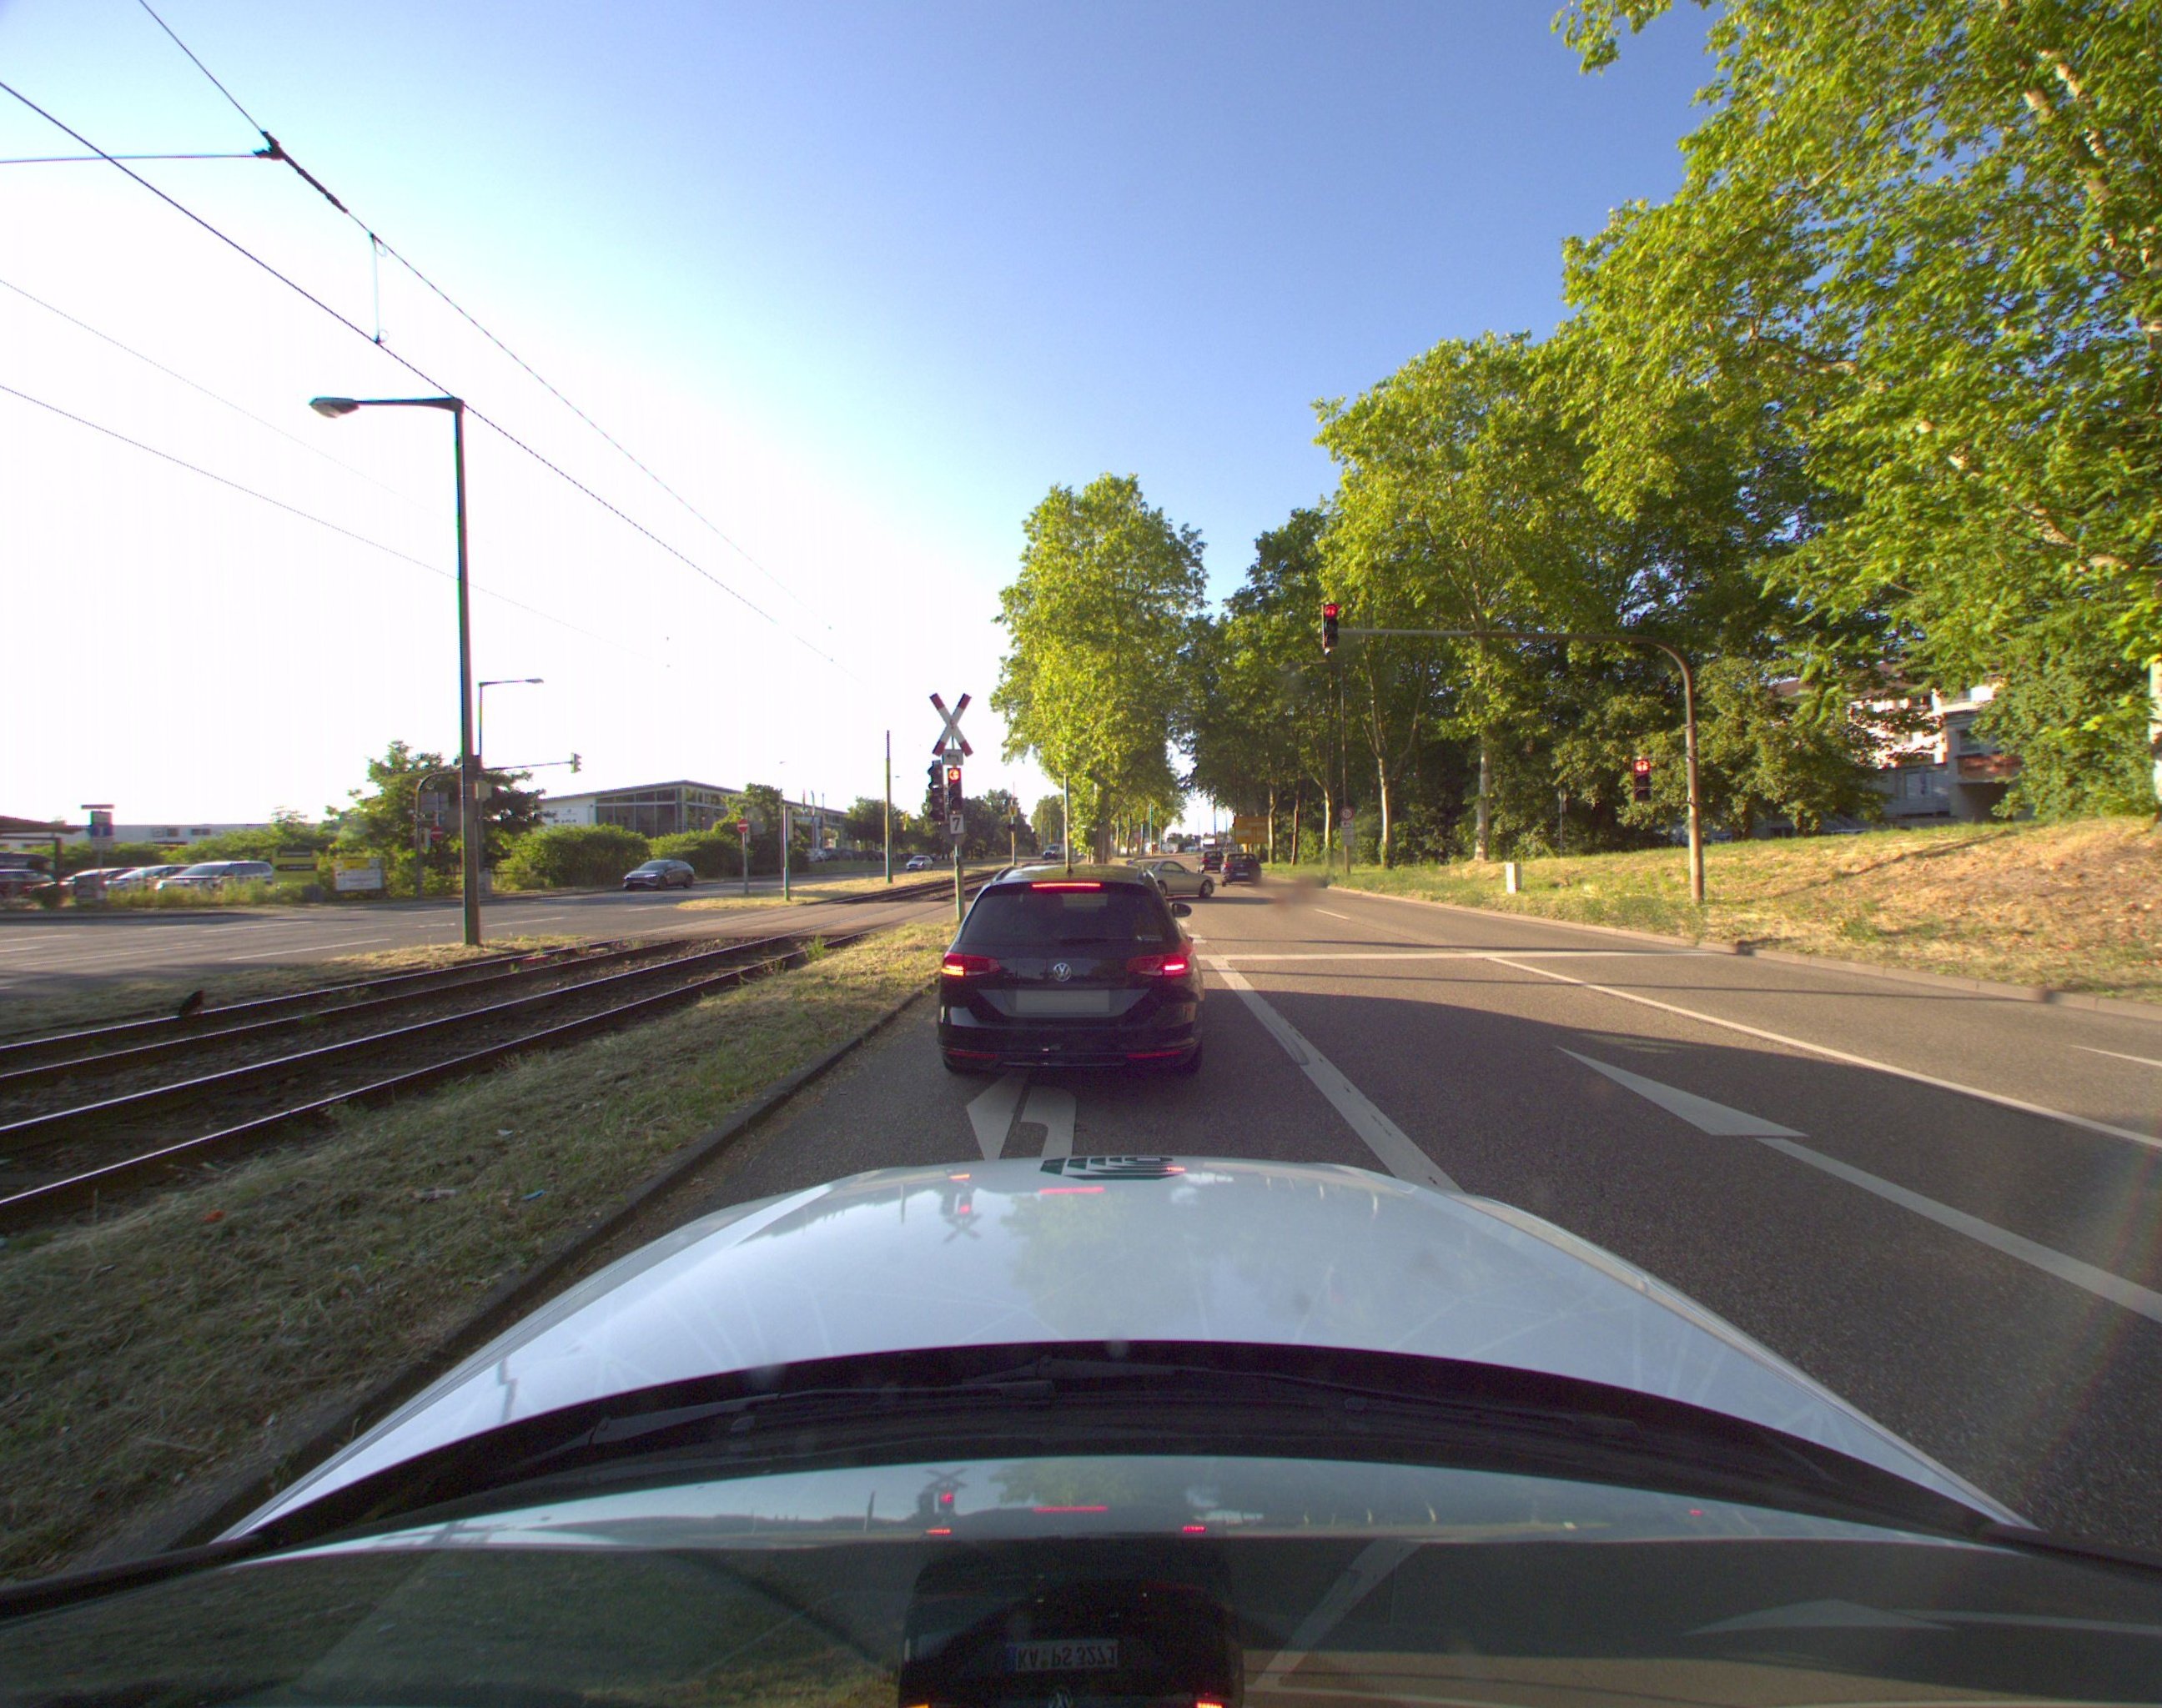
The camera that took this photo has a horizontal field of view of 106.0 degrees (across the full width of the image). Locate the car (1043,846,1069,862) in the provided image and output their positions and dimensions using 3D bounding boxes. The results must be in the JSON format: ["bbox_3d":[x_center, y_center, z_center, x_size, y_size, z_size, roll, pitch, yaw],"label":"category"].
[{"bbox_3d":[-3.877,0.044,129.178,2.078,2.461,5.881,0,0,20],"label":"car"}]

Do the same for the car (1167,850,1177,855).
[{"bbox_3d":[26.194,-0.491,234.494,1.989,1.420,3.995,-1,0,-3],"label":"car"}]

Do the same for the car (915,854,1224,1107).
[{"bbox_3d":[-0.021,0.739,6.531,1.788,1.464,3.584,0,0,1],"label":"car"}]

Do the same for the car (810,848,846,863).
[{"bbox_3d":[-29.950,0.173,96.393,3.999,1.704,1.732,-1,0,-19],"label":"car"}]

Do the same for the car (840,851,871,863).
[{"bbox_3d":[-31.227,0.446,112.617,3.999,1.556,1.732,-1,0,-19],"label":"car"}]

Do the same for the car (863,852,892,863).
[{"bbox_3d":[-30.606,0.555,122.756,3.978,1.621,1.742,-1,0,-3],"label":"car"}]

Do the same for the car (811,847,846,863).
[{"bbox_3d":[-30.602,0.137,98.747,3.999,1.816,1.732,-1,0,-19],"label":"car"}]

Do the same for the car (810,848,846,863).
[{"bbox_3d":[-29.261,0.155,94.124,3.999,1.704,1.732,-1,0,-19],"label":"car"}]

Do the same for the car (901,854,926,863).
[{"bbox_3d":[-28.762,0.777,139.681,3.978,1.621,1.742,-1,0,-3],"label":"car"}]

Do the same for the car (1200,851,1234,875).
[{"bbox_3d":[9.697,0.624,58.363,1.864,1.635,4.373,-1,0,3],"label":"car"}]

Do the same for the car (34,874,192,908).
[{"bbox_3d":[-42.472,1.572,35.899,1.855,1.267,4.174,0,0,2],"label":"car"}]

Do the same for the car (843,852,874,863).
[{"bbox_3d":[-31.436,0.485,115.323,3.983,1.556,1.739,-1,0,-7],"label":"car"}]

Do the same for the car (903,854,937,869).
[{"bbox_3d":[-16.449,0.750,83.520,1.849,1.481,4.107,0,0,13],"label":"car"}]

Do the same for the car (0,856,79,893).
[{"bbox_3d":[-60.422,1.165,45.916,1.855,2.014,4.773,0,0,2],"label":"car"}]

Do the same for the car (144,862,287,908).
[{"bbox_3d":[-38.525,1.331,36.421,1.855,1.821,4.174,0,0,2],"label":"car"}]

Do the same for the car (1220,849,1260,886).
[{"bbox_3d":[7.305,0.582,37.453,1.696,1.561,4.178,-1,0,11],"label":"car"}]

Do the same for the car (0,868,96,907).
[{"bbox_3d":[-47.161,1.462,36.055,1.970,1.583,4.174,0,0,2],"label":"car"}]

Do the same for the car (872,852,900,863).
[{"bbox_3d":[-30.117,0.599,125.957,3.978,1.621,1.742,-1,0,-3],"label":"car"}]

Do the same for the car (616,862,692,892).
[{"bbox_3d":[-23.769,1.255,45.544,1.854,1.481,4.176,0,0,3],"label":"car"}]

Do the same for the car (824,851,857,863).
[{"bbox_3d":[-31.364,0.354,106.219,3.999,1.556,1.732,-1,0,-19],"label":"car"}]

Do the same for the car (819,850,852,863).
[{"bbox_3d":[-31.150,0.310,103.428,3.999,1.556,1.732,-1,0,-19],"label":"car"}]

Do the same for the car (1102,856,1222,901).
[{"bbox_3d":[2.653,0.727,26.146,4.005,1.294,1.594,0,0,-43],"label":"car"}]

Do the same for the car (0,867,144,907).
[{"bbox_3d":[-44.712,1.413,35.903,1.855,1.583,4.174,0,0,2],"label":"car"}]

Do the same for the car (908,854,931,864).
[{"bbox_3d":[-29.102,0.876,146.850,3.978,1.621,1.742,-1,0,-3],"label":"car"}]

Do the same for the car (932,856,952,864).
[{"bbox_3d":[-28.807,1.194,168.930,3.977,1.556,1.742,-1,0,-2],"label":"car"}]

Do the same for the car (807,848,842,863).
[{"bbox_3d":[-31.644,0.139,100.528,3.999,1.816,1.732,-1,0,-19],"label":"car"}]
